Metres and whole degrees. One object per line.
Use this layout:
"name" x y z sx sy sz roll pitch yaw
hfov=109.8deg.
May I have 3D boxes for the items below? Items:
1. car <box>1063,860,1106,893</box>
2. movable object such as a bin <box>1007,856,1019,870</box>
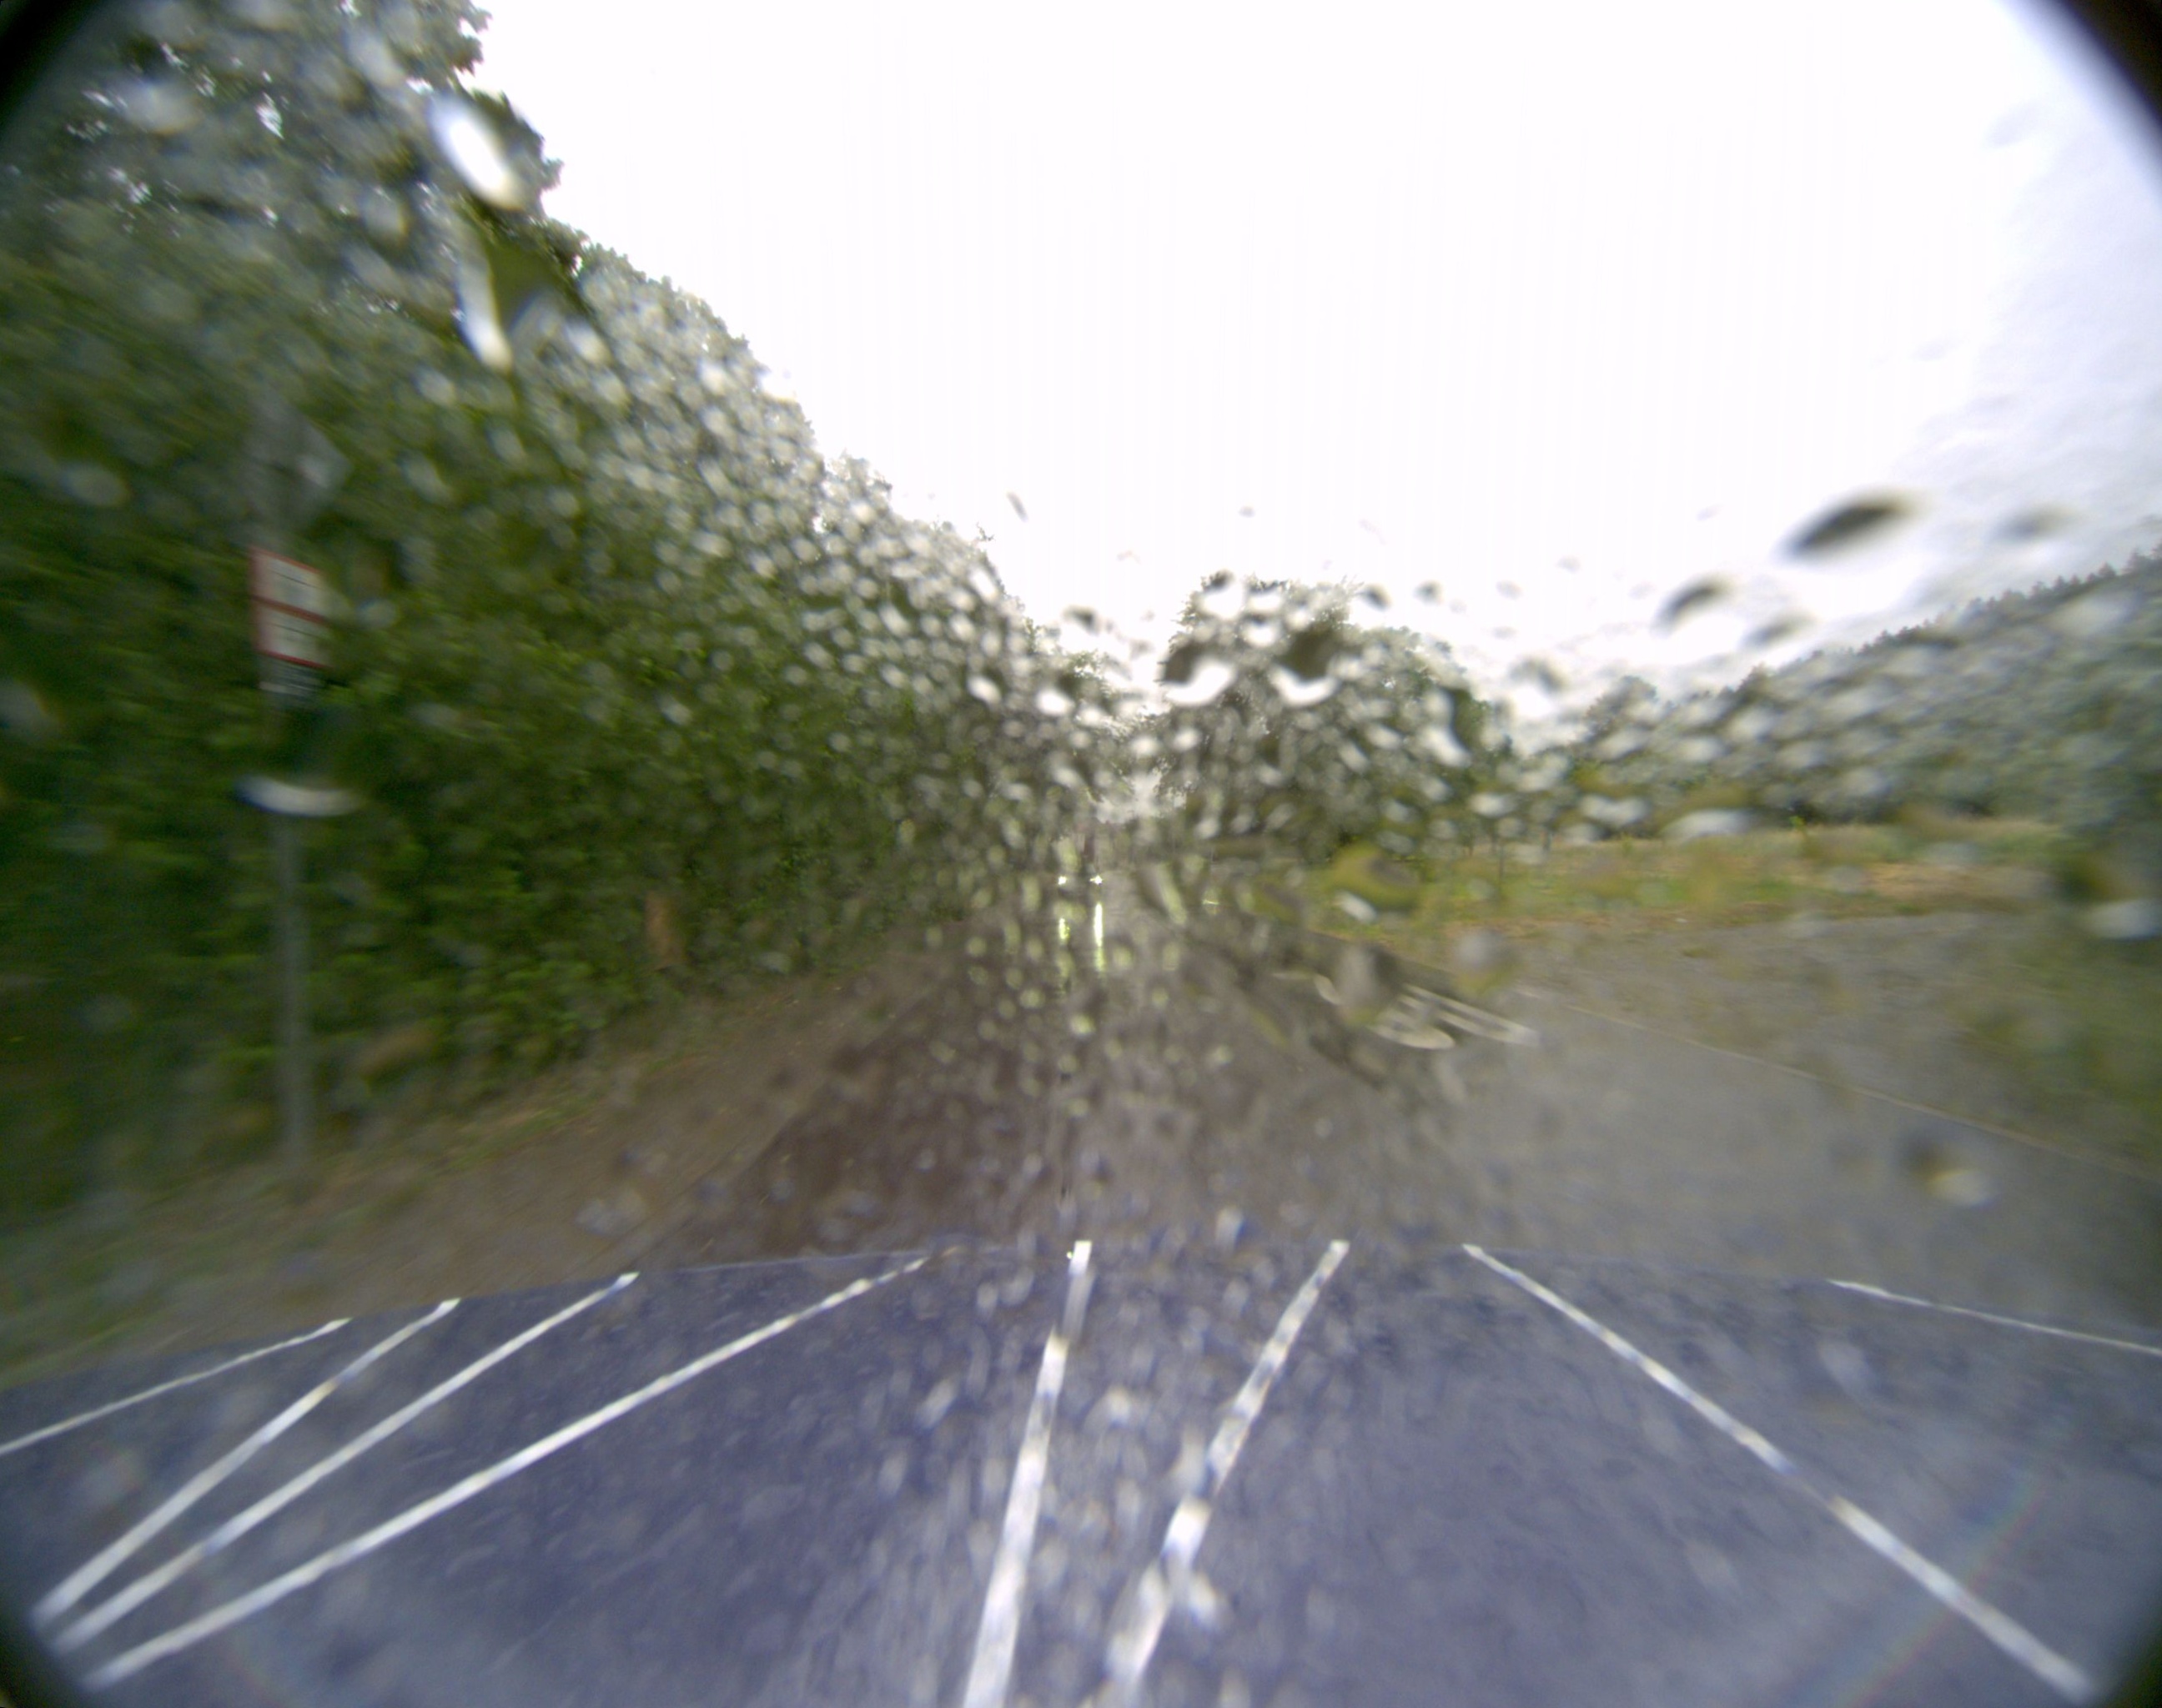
"car" 0.110 0.926 32.532 1.667 1.290 3.518 -2 -1 -2
"movable object such as a bin" -7.566 1.033 84.968 1.238 1.428 0.795 4 1 -2
